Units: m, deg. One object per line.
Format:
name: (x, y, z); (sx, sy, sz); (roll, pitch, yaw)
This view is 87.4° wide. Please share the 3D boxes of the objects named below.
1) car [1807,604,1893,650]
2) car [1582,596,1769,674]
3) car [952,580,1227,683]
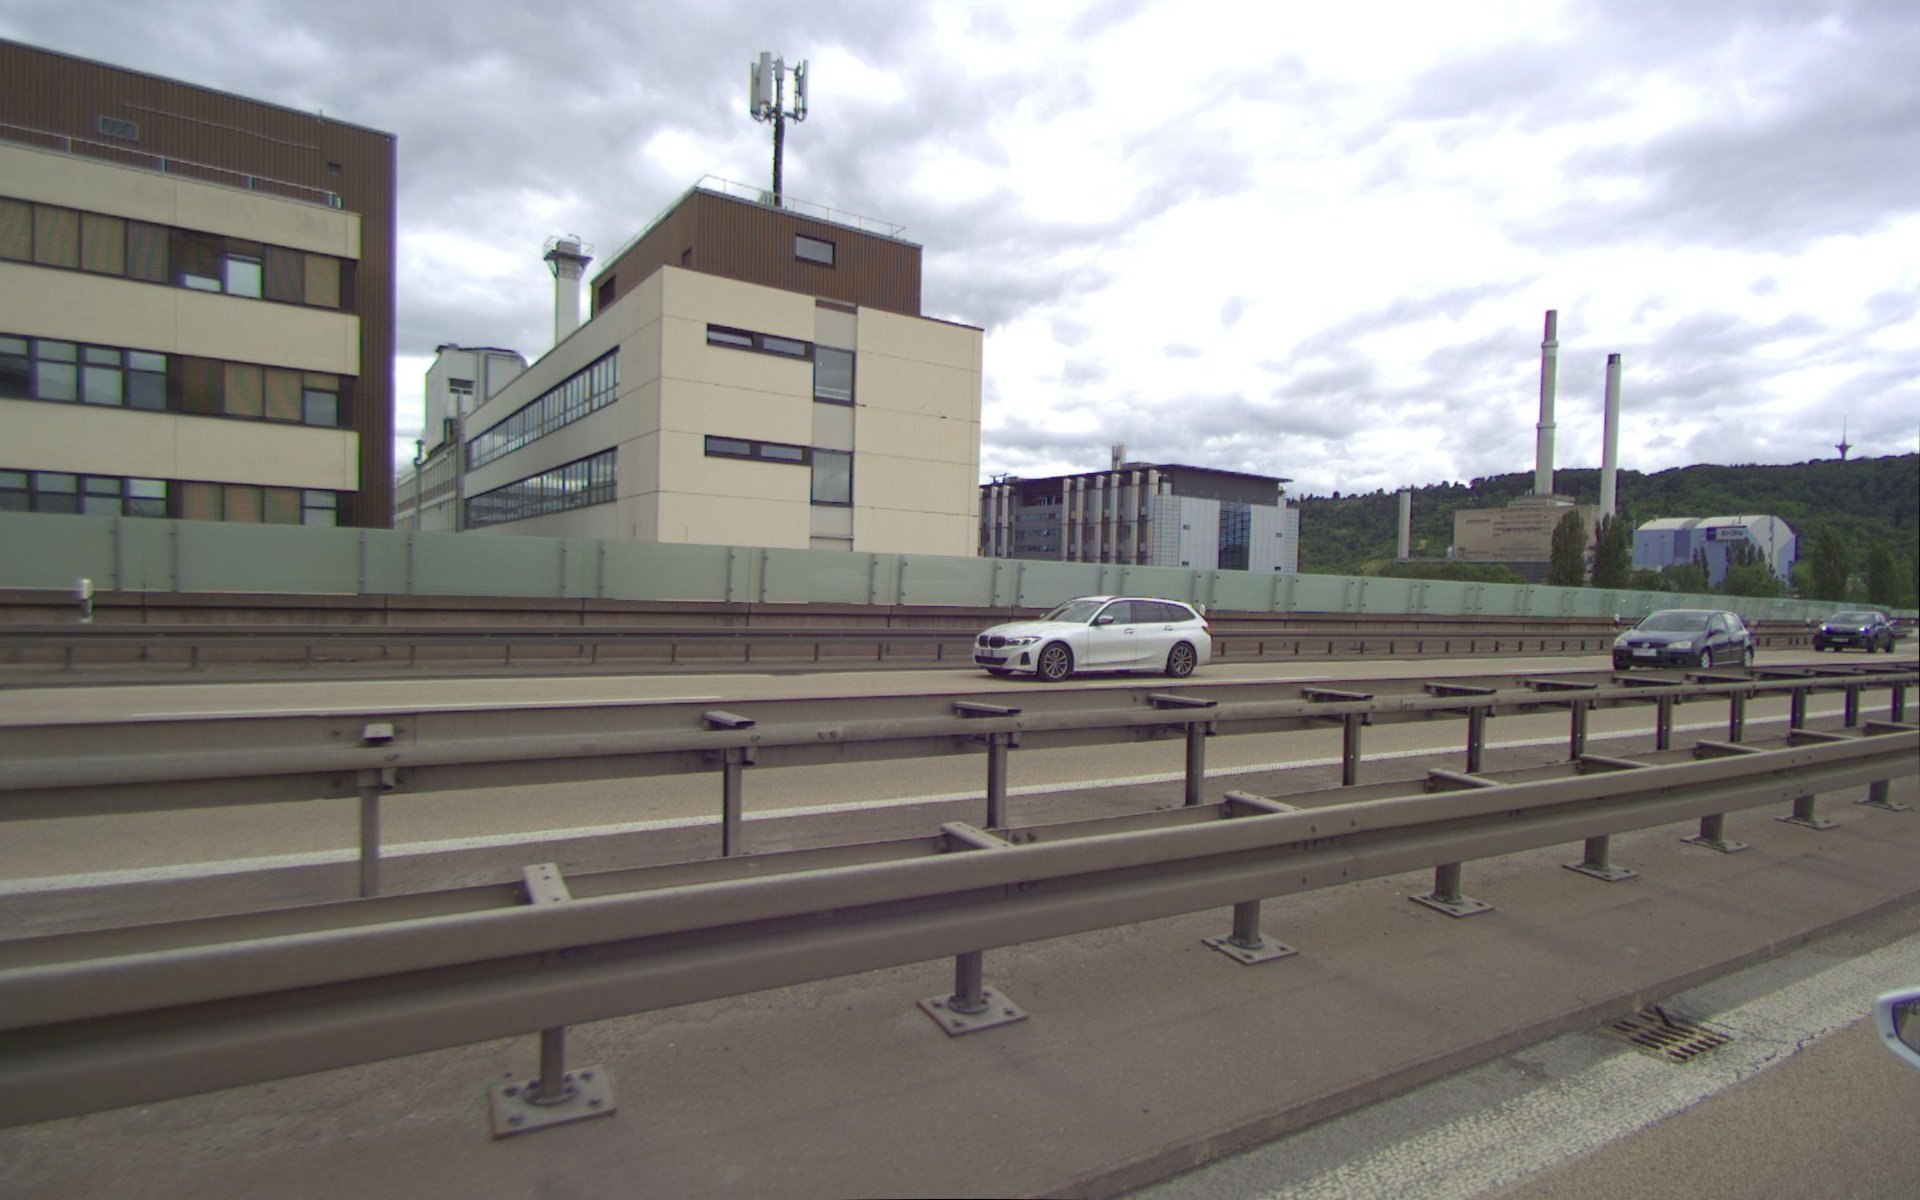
car: (36.103, 1.056, 40.695); (4.327, 1.771, 1.742); (1, 0, -37)
car: (16.599, 0.764, 23.239); (4.764, 1.633, 2.010); (1, 0, -34)
car: (2.377, 0.536, 17.960); (4.759, 1.633, 1.907); (1, 0, -32)
